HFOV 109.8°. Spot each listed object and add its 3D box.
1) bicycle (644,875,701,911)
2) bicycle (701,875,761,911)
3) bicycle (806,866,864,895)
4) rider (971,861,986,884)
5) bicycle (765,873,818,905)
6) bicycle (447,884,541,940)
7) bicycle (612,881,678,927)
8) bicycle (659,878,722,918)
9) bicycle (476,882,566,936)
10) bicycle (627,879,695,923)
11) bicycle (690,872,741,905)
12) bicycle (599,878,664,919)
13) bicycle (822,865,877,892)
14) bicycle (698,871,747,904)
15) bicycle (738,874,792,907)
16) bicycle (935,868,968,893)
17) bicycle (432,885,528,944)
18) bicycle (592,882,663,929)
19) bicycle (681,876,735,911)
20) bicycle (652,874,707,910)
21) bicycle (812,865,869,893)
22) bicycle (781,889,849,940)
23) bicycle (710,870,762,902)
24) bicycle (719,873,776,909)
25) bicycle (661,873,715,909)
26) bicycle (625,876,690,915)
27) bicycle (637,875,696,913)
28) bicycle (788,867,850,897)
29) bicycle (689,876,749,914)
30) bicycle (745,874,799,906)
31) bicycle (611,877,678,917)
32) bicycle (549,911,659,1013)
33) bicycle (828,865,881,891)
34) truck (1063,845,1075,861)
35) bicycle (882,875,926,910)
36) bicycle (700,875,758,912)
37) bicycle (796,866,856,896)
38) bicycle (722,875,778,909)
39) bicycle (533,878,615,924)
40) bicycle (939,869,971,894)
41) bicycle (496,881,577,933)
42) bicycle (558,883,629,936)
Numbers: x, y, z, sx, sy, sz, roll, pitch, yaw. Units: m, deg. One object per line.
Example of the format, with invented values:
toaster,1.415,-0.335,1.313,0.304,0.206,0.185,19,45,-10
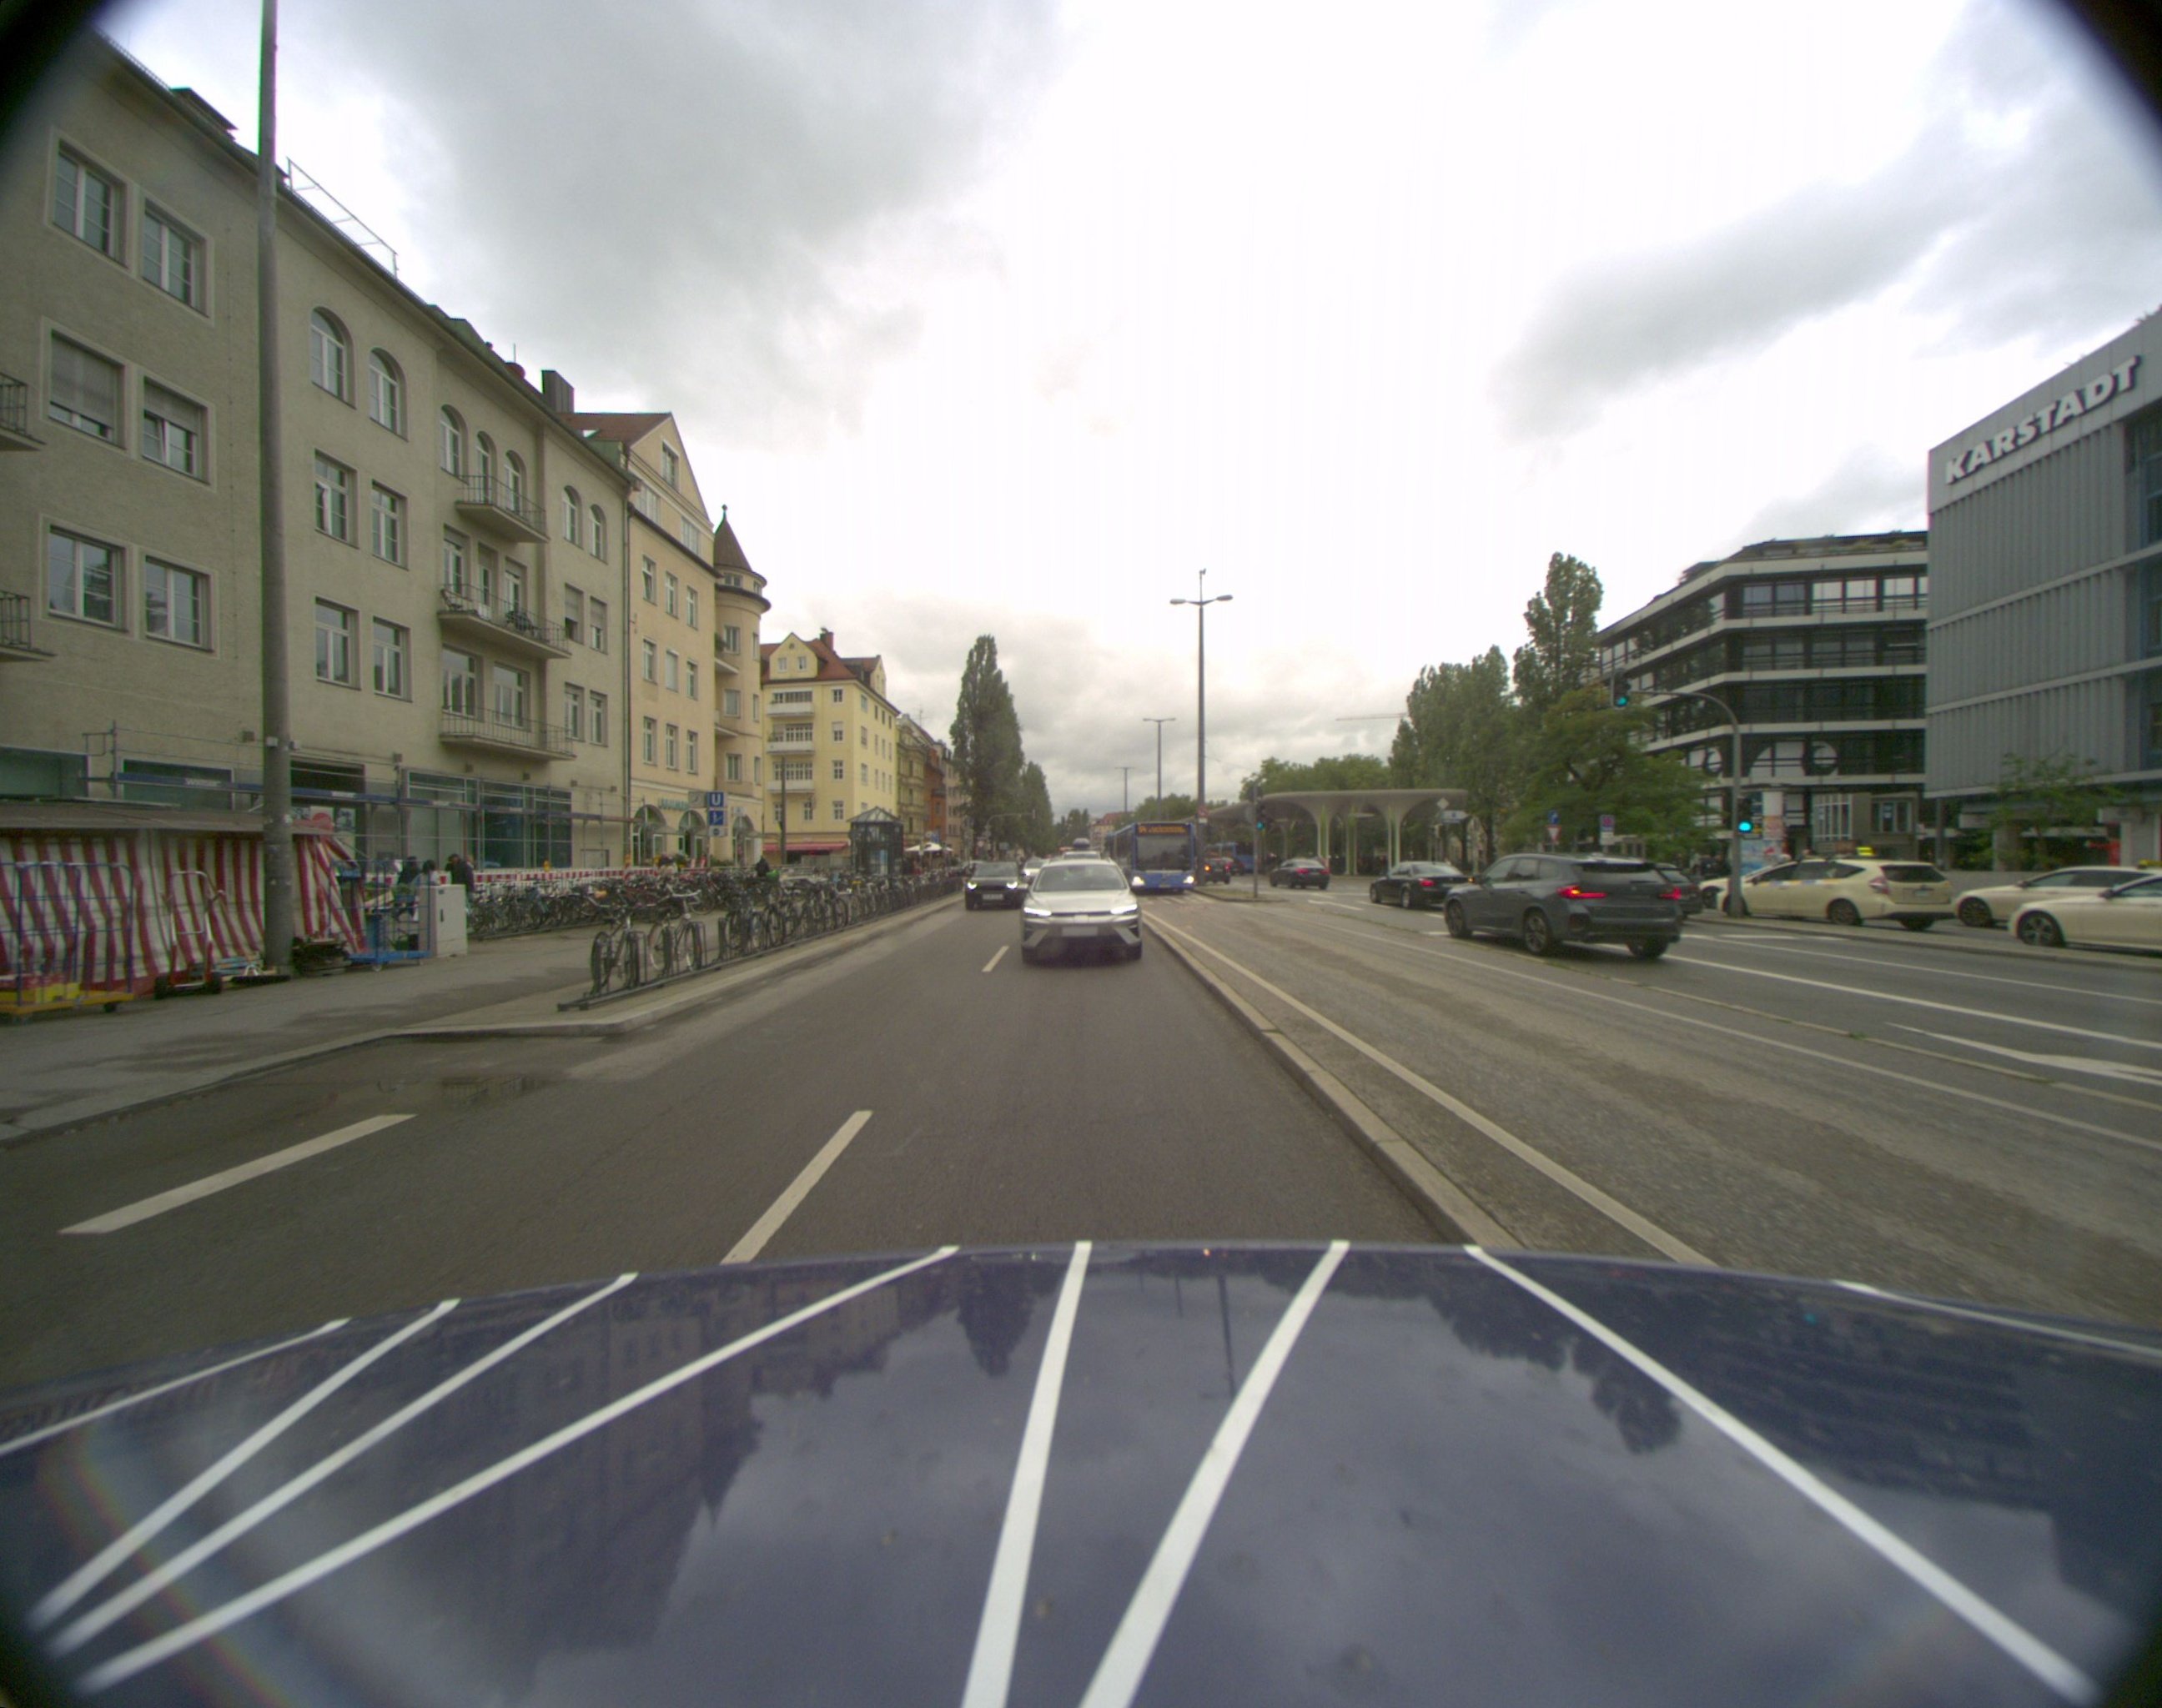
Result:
bicycle,-12.200,1.166,22.727,1.453,1.071,0.410,1,1,-9
bicycle,-10.815,1.189,23.485,1.661,1.071,0.410,1,1,-1
bicycle,-10.669,1.135,32.939,2.317,1.220,0.628,0,0,3
rider,-5.743,1.030,42.770,0.732,1.234,0.732,2,1,-3
bicycle,-10.240,1.230,26.906,0.409,1.071,1.766,2,1,40
bicycle,-12.003,1.174,15.539,1.632,1.097,0.410,1,1,2
bicycle,-10.674,1.211,18.616,1.451,1.071,0.410,1,1,8
bicycle,-10.538,1.188,20.522,1.453,1.071,0.410,1,1,-9
bicycle,-11.892,1.164,16.152,1.632,1.097,0.410,1,1,2
bicycle,-10.628,1.189,19.262,1.453,1.071,0.410,1,1,-9
bicycle,-12.158,1.138,25.291,1.452,1.071,0.410,1,1,-5
bicycle,-11.994,1.185,20.302,1.453,1.071,0.410,1,1,-9
bicycle,-10.671,1.114,35.004,2.330,1.220,0.628,0,0,3
bicycle,-12.180,1.133,25.824,1.452,1.071,0.410,1,1,-5
bicycle,-10.538,1.223,25.360,1.605,1.071,0.410,1,1,-1
bicycle,-5.940,1.199,34.692,1.848,1.053,0.398,-5,-2,43
bicycle,-11.842,1.175,14.980,1.632,1.097,0.410,1,1,5
bicycle,-10.829,1.220,18.142,1.481,1.071,0.410,1,1,5
bicycle,-11.963,1.273,24.382,1.530,1.071,0.410,1,1,-1
bicycle,-12.326,1.163,23.341,1.453,1.071,0.410,1,1,-9
bicycle,-10.709,1.127,33.875,2.342,1.220,0.628,0,0,3
bicycle,-5.555,1.274,15.824,1.797,1.004,0.387,-5,-1,39
bicycle,-12.231,1.123,26.942,1.650,1.071,0.410,1,1,3
bicycle,-10.524,1.160,23.990,1.637,1.071,0.410,1,1,5
bicycle,-12.321,1.158,23.836,1.453,1.071,0.410,1,1,-9
bicycle,-11.976,1.172,21.511,1.536,1.071,0.410,1,1,-8
bicycle,-12.092,1.169,22.167,1.453,1.071,0.410,1,1,-9
bicycle,-10.867,1.155,31.546,2.368,1.220,0.628,0,0,3
bicycle,-10.615,1.205,22.290,1.539,1.071,0.410,1,1,-1
bicycle,-10.492,1.217,25.812,1.655,1.071,0.410,1,1,-1
bicycle,-11.999,1.179,20.913,1.536,1.071,0.410,1,1,-8
bicycle,-5.574,1.225,8.852,1.572,1.048,0.548,-5,-1,38
bicycle,-10.644,1.124,35.760,2.317,1.220,0.628,0,0,3
truck,-2.600,-0.299,169.785,2.541,3.468,7.751,0,0,0
bicycle,-5.690,1.254,24.319,0.398,1.053,1.848,-3,-2,-45
bicycle,-10.596,1.199,22.879,1.528,1.071,0.410,1,1,-1
bicycle,-10.816,1.147,32.225,2.342,1.220,0.628,0,0,3
bicycle,-10.762,1.236,24.727,1.625,1.071,0.410,1,1,-1
bicycle,-12.287,1.138,18.439,1.634,1.097,0.410,1,1,-9
bicycle,-5.894,1.300,35.468,1.848,1.053,0.398,-5,-2,43
bicycle,-12.042,1.162,16.812,1.631,1.097,0.410,1,1,9
bicycle,-10.605,1.196,16.520,1.471,1.071,0.411,1,1,15
